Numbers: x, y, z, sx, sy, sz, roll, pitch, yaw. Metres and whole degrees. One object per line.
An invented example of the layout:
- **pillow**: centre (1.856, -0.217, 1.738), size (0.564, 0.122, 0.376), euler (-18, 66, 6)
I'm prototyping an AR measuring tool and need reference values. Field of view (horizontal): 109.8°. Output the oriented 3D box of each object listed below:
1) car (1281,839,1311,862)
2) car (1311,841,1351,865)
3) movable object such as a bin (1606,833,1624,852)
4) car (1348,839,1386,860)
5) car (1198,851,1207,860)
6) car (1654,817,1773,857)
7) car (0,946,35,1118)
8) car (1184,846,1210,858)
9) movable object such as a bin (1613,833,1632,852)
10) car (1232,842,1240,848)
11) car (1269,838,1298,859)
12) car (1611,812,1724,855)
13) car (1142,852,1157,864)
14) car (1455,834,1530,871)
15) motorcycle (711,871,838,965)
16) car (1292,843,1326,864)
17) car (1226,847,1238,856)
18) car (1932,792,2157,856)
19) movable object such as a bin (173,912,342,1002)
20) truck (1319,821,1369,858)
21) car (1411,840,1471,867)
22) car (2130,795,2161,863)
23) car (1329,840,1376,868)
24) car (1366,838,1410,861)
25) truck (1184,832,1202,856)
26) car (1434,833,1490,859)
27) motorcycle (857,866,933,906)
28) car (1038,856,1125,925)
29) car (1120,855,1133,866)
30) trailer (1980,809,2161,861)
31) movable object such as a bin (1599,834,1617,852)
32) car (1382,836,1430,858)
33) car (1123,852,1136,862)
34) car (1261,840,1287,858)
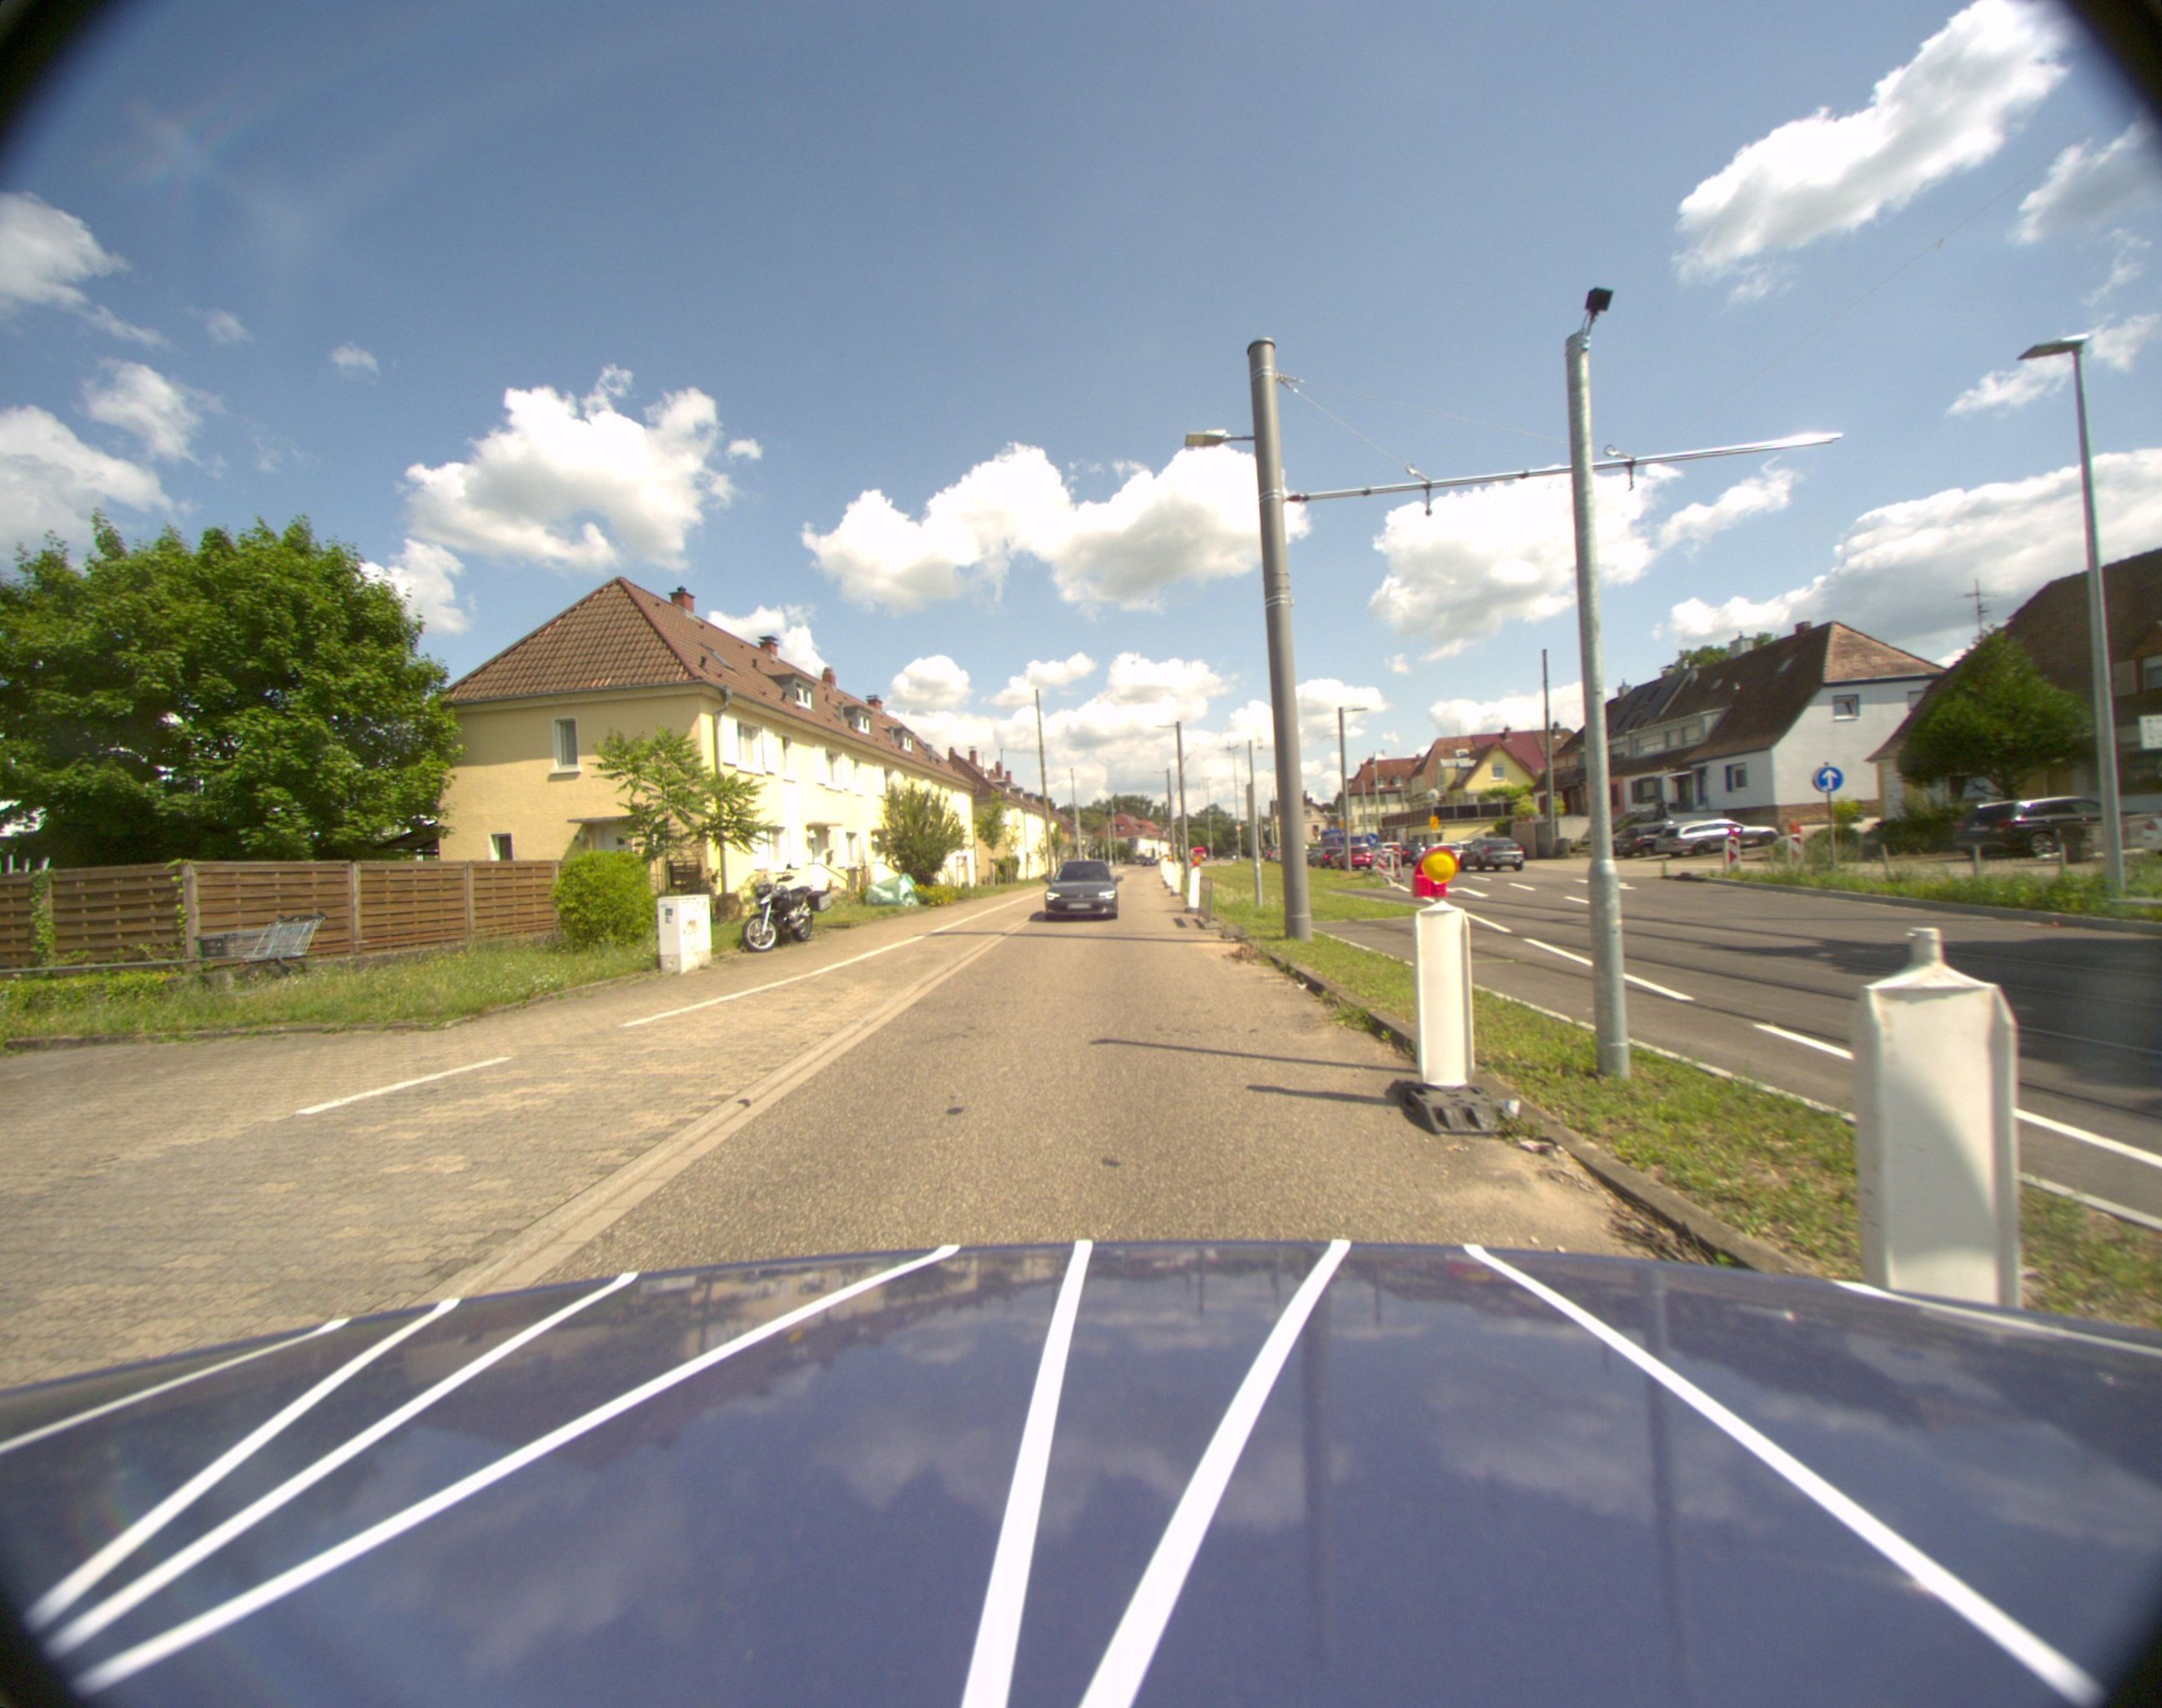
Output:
- **car**: centre (19.297, -0.312, 68.303), size (1.729, 1.843, 4.543), euler (-3, 0, 6)
- **car**: centre (17.871, -0.060, 54.489), size (1.729, 1.553, 4.646), euler (-3, 0, 7)
- **movable object such as a bin**: centre (27.807, -0.598, 39.568), size (0.517, 0.947, 0.583), euler (-3, 1, 5)
- **car**: centre (23.478, -0.375, 62.614), size (1.729, 1.553, 4.543), euler (-3, 0, 6)
- **car**: centre (31.337, 0.373, 195.739), size (2.059, 1.996, 4.952), euler (-3, 1, 10)
- **car**: centre (28.475, -0.745, 34.298), size (3.887, 1.546, 1.682), euler (-3, 0, 2)
- **car**: centre (-9.810, 1.468, 4.301), size (1.643, 1.372, 4.291), euler (-4, -2, 6)
- **car**: centre (19.421, -0.316, 127.610), size (2.288, 1.862, 4.978), euler (-3, 0, -18)
- **movable object such as a bin**: centre (27.762, -0.577, 38.973), size (0.517, 0.947, 0.610), euler (-3, 1, 5)
- **car**: centre (44.526, -2.564, 218.161), size (1.721, 1.582, 4.174), euler (-3, 0, 8)
- **car**: centre (20.154, -0.533, 75.803), size (1.922, 1.953, 4.543), euler (-3, 0, 6)
- **car**: centre (28.581, -0.971, 37.129), size (3.996, 1.835, 1.802), euler (-3, 0, 2)
- **car**: centre (9.438, 0.532, 105.278), size (1.879, 1.544, 4.986), euler (-3, 0, 5)
- **car**: centre (19.291, -0.098, 35.861), size (1.728, 1.518, 4.774), euler (-3, 0, 12)
- **motorcycle**: centre (-5.425, 1.073, 13.692), size (1.049, 1.462, 2.585), euler (-1, 1, 5)
- **car**: centre (18.407, -0.049, 61.595), size (1.729, 1.553, 4.543), euler (-3, 0, 6)
- **car**: centre (33.050, -0.536, 166.255), size (2.282, 1.862, 4.989), euler (-3, 0, 13)
- **car**: centre (27.431, -0.816, 21.747), size (3.892, 1.535, 1.707), euler (-3, 0, 7)
- **movable object such as a bin**: centre (-10.275, 1.256, 9.539), size (0.571, 0.930, 1.288), euler (-3, 0, 9)
- **truck**: centre (24.413, -1.300, 70.860), size (2.841, 3.135, 7.938), euler (-3, 0, 8)
- **car**: centre (20.148, -0.063, 42.685), size (1.728, 1.327, 4.544), euler (-3, 0, 9)
- **car**: centre (26.552, -0.681, 16.951), size (3.960, 1.535, 1.760), euler (-3, 0, -2)
- **car**: centre (16.889, -0.005, 47.533), size (1.729, 1.553, 4.543), euler (-3, 0, 7)
- **car**: centre (22.551, -0.320, 55.969), size (1.729, 1.553, 4.543), euler (-3, 0, 7)
- **truck**: centre (26.425, -2.309, 178.517), size (3.474, 5.153, 14.227), euler (-3, 0, 11)
- **car**: centre (25.055, -0.530, 50.135), size (1.729, 1.553, 4.543), euler (-3, 0, 7)
- **motorcycle**: centre (-6.151, 1.056, 25.187), size (2.232, 1.190, 0.854), euler (-3, 1, 7)
- **car**: centre (0.150, 0.860, 20.018), size (1.741, 1.513, 4.703), euler (-1, 0, 7)
- **car**: centre (7.175, 0.950, 119.376), size (1.879, 1.544, 4.986), euler (-3, 0, 5)
- **trailer**: centre (26.949, -0.539, 19.633), size (4.932, 1.118, 1.961), euler (-3, 0, 2)
- **movable object such as a bin**: centre (27.855, -0.588, 40.149), size (0.517, 0.947, 0.583), euler (-3, 1, 5)
- **car**: centre (21.212, -0.464, 49.716), size (1.728, 1.327, 4.544), euler (-3, 0, 9)
- **car**: centre (8.237, 0.457, 128.720), size (1.879, 1.544, 4.986), euler (-3, 0, 5)
- **car**: centre (20.823, -0.512, 82.009), size (1.922, 1.770, 4.543), euler (-3, 0, 6)
